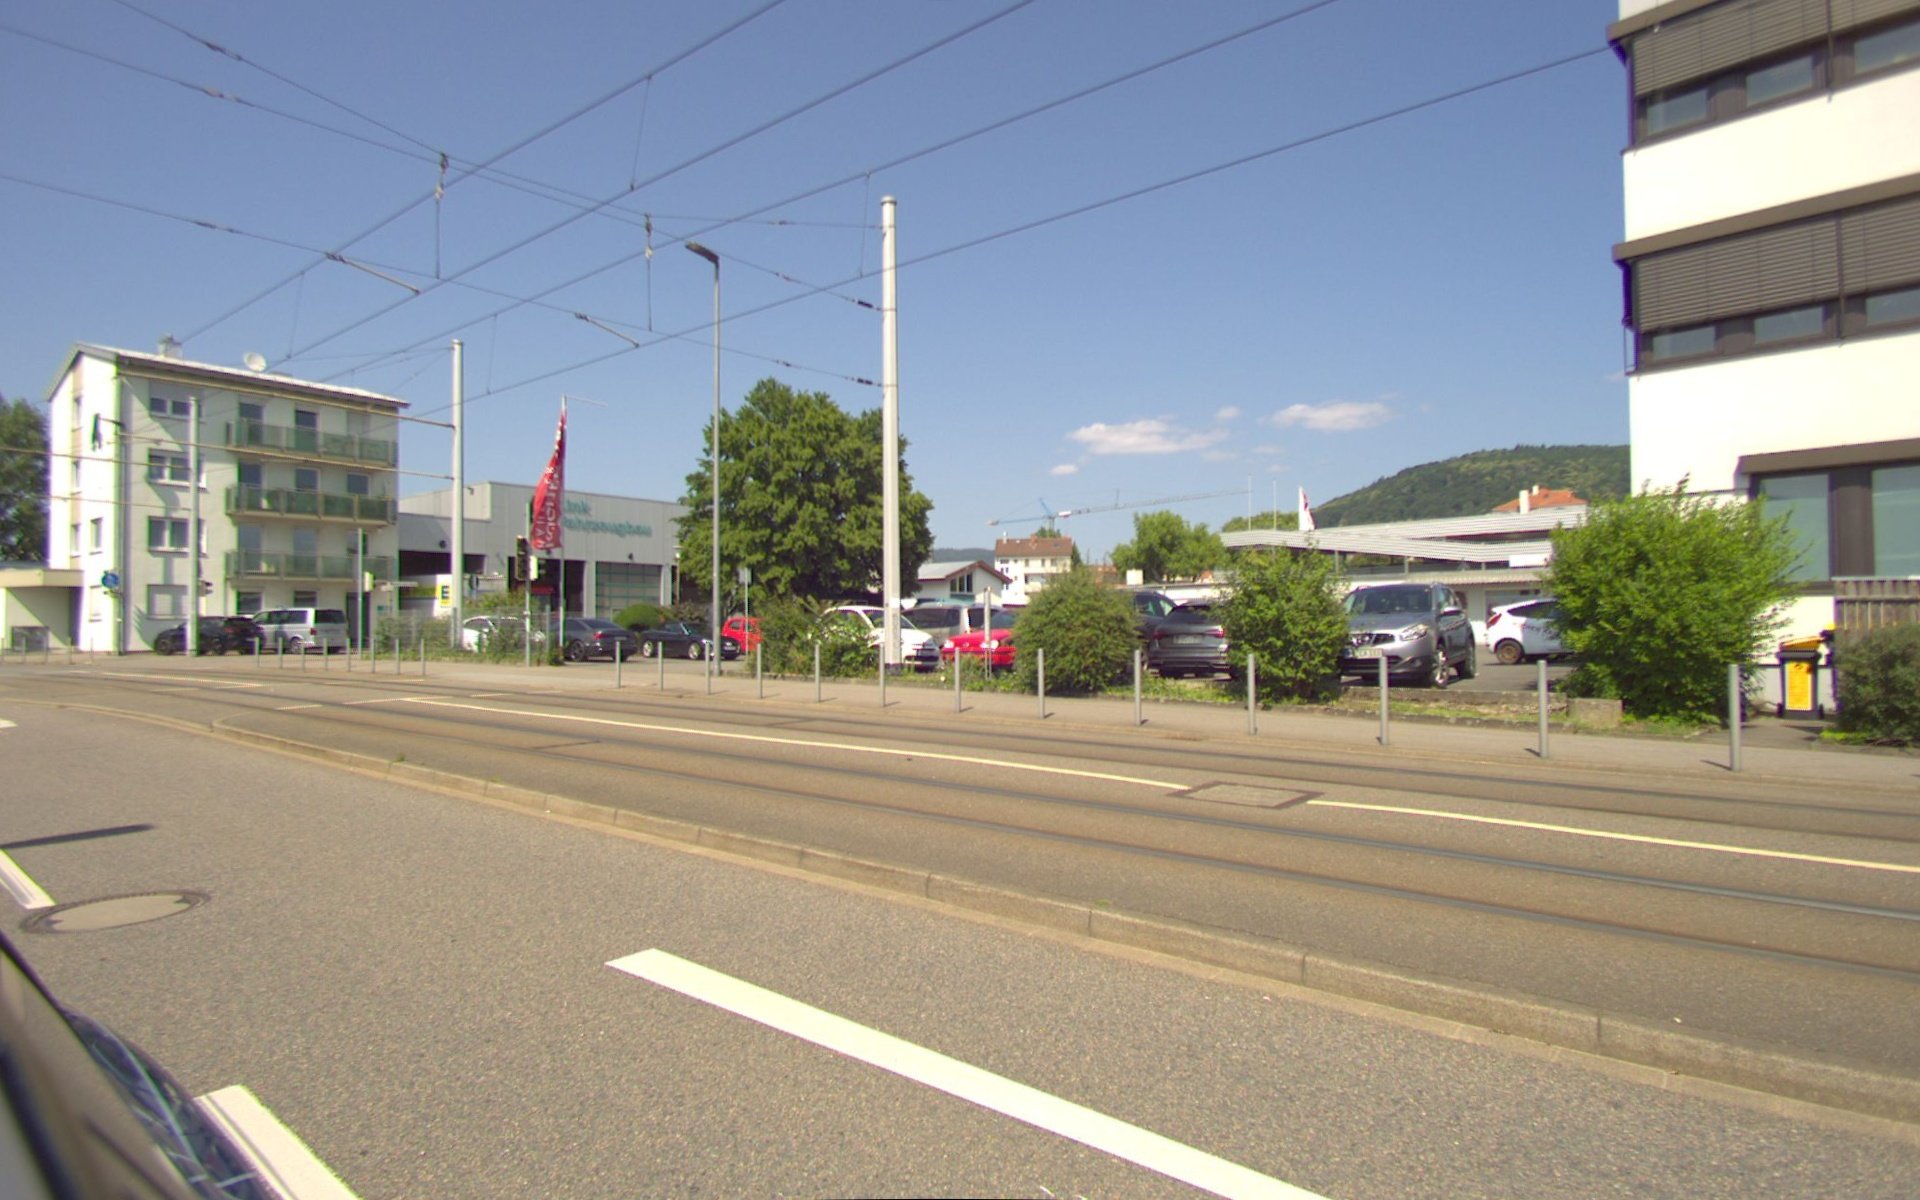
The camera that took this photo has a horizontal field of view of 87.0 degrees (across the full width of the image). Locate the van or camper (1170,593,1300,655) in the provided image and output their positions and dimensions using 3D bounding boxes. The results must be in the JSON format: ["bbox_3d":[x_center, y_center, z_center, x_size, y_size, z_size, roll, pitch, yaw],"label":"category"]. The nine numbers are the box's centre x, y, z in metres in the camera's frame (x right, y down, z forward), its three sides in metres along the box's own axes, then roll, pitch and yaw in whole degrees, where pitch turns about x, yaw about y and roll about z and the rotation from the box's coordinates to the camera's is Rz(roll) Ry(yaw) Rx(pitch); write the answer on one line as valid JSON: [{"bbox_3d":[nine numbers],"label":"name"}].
[{"bbox_3d":[10.717,0.953,39.675,4.603,2.323,1.756,-2,-2,44],"label":"van or camper"}]

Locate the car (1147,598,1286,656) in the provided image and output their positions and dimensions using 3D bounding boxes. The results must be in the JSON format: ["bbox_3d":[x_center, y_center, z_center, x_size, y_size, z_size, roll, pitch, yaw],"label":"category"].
[{"bbox_3d":[9.393,0.989,37.370,2.027,2.029,4.583,0,-2,-44],"label":"car"}]

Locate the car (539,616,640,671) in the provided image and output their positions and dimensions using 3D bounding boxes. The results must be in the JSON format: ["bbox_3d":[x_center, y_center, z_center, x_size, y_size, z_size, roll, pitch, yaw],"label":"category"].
[{"bbox_3d":[-12.377,1.471,33.683,1.743,1.633,3.839,0,-4,-44],"label":"car"}]

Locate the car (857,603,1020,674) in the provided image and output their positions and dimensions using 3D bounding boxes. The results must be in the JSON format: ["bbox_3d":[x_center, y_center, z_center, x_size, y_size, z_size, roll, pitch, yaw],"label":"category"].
[{"bbox_3d":[-0.596,0.929,24.624,1.828,1.580,3.939,1,-2,-43],"label":"car"}]

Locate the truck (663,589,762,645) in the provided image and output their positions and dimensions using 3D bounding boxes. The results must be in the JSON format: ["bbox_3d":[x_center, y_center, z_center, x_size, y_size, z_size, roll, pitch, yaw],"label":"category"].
[{"bbox_3d":[-17.724,1.237,72.144,7.850,3.810,2.591,-1,-2,38],"label":"truck"}]

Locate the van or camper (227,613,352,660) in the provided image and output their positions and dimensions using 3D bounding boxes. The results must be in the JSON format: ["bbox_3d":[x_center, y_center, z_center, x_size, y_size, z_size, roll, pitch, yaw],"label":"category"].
[{"bbox_3d":[-28.349,1.517,42.837,4.517,1.922,1.989,0,-2,17],"label":"van or camper"}]

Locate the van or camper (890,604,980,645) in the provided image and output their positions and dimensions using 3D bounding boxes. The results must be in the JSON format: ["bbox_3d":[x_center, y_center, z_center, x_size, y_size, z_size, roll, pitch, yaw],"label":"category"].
[{"bbox_3d":[-1.305,1.252,51.569,1.970,2.023,4.646,1,-2,-44],"label":"van or camper"}]

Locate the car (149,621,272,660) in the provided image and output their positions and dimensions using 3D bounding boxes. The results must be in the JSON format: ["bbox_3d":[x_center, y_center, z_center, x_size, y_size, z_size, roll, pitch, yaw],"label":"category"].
[{"bbox_3d":[-30.050,1.623,40.615,3.933,1.532,1.873,-1,-2,13],"label":"car"}]

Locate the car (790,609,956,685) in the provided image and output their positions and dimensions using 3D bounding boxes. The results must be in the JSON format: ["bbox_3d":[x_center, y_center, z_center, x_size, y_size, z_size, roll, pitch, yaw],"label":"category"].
[{"bbox_3d":[-2.032,1.023,22.790,1.715,1.553,3.839,1,-2,-43],"label":"car"}]

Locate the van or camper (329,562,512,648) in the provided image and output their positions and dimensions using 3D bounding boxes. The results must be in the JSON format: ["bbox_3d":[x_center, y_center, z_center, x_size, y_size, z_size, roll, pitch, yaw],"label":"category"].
[{"bbox_3d":[-28.406,0.381,53.015,11.590,3.721,2.753,-4,-3,30],"label":"van or camper"}]

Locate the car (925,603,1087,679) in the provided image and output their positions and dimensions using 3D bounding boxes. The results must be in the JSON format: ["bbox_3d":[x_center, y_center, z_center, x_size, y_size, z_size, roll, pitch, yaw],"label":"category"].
[{"bbox_3d":[1.128,1.027,26.320,1.969,1.798,4.005,0,-2,-42],"label":"car"}]

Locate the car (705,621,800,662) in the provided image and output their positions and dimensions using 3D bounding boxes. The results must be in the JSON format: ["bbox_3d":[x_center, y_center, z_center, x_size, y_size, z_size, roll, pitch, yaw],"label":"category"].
[{"bbox_3d":[-8.622,1.685,41.991,3.830,1.605,1.833,-2,-1,38],"label":"car"}]

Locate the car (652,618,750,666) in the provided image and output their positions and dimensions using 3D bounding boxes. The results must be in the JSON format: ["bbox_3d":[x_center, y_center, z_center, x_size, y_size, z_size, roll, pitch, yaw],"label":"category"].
[{"bbox_3d":[-9.517,1.521,37.072,1.829,1.633,3.839,2,-3,-43],"label":"car"}]

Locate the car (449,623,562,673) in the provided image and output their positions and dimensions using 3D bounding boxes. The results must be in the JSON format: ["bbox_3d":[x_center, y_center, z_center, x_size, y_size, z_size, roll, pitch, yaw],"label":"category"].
[{"bbox_3d":[-14.429,1.476,32.055,3.951,1.444,1.690,-1,-1,39],"label":"car"}]

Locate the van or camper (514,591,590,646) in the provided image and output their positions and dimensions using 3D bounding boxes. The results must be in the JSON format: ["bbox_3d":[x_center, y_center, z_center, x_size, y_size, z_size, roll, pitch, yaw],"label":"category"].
[{"bbox_3d":[-25.021,1.166,61.993,5.048,3.230,1.976,-2,-2,36],"label":"van or camper"}]

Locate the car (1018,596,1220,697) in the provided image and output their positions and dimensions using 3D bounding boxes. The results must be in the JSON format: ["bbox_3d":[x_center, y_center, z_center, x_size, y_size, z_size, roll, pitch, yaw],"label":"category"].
[{"bbox_3d":[3.119,0.818,19.352,1.999,1.719,3.945,-2,-2,41],"label":"car"}]

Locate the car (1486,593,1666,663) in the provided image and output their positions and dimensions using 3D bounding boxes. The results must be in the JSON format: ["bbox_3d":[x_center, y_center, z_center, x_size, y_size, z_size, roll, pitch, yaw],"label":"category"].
[{"bbox_3d":[13.799,0.664,22.787,1.399,1.437,3.137,0,-3,-40],"label":"car"}]

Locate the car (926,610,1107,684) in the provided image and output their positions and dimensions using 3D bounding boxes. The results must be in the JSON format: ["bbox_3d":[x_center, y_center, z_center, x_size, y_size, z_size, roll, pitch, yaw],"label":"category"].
[{"bbox_3d":[1.249,0.914,20.944,1.748,1.381,3.782,-2,-2,43],"label":"car"}]

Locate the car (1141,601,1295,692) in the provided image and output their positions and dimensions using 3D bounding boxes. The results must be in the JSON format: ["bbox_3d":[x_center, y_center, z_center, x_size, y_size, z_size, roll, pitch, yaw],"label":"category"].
[{"bbox_3d":[4.605,0.757,17.775,1.545,1.433,3.358,-2,-1,35],"label":"car"}]

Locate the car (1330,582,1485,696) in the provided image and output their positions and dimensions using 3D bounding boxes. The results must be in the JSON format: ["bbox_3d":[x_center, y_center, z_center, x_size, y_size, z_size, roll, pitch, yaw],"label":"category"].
[{"bbox_3d":[6.979,0.559,15.611,1.472,1.540,3.592,-2,-1,35],"label":"car"}]
